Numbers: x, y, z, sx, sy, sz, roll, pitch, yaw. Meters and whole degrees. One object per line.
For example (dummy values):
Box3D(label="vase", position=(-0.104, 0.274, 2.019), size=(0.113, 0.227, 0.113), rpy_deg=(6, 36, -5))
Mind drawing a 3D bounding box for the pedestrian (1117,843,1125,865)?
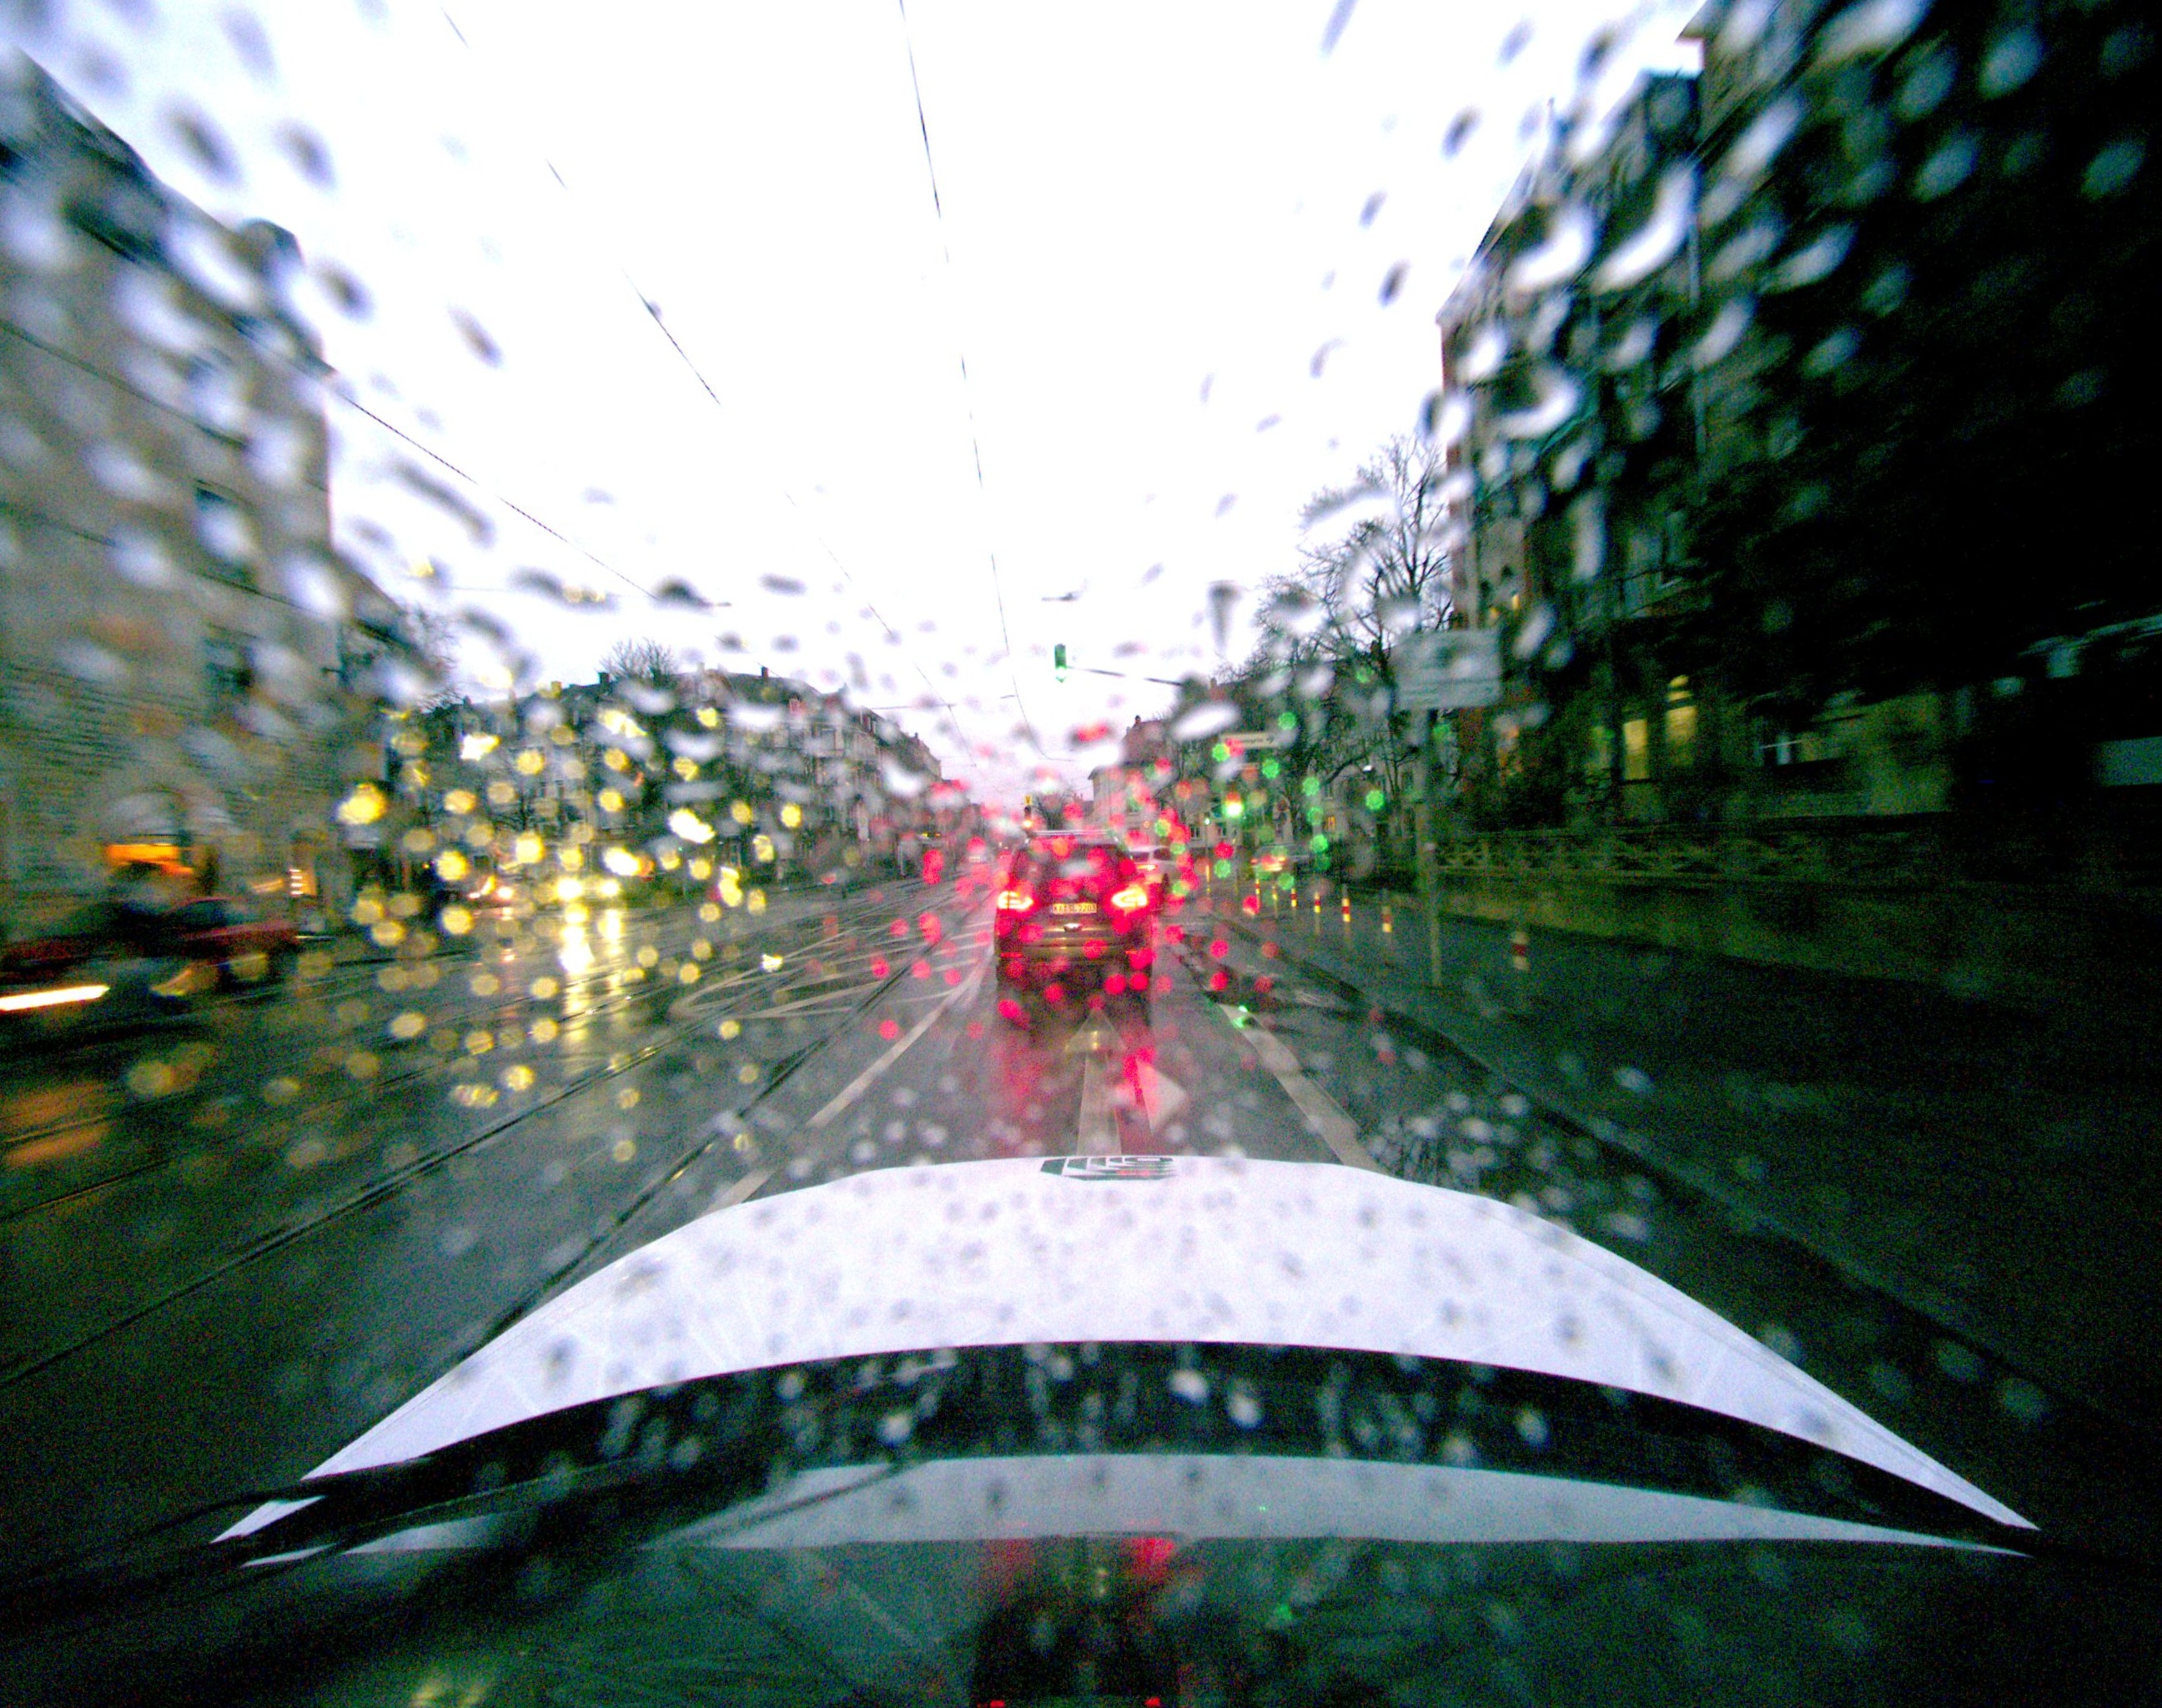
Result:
Box3D(label="pedestrian", position=(3.558, 0.000, 72.452), size=(0.593, 2.014, 0.631), rpy_deg=(-2, -1, 1))

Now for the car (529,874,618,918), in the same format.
Box3D(label="car", position=(-21.968, 1.781, 35.202), size=(3.948, 1.673, 2.035), rpy_deg=(-2, 0, 39))

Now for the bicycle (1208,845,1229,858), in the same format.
Box3D(label="bicycle", position=(13.699, -0.225, 81.069), size=(1.832, 1.183, 0.718), rpy_deg=(-2, 0, 29))

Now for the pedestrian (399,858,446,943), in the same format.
Box3D(label="pedestrian", position=(-16.003, 1.115, 19.791), size=(0.748, 2.014, 0.652), rpy_deg=(-2, -1, 33))

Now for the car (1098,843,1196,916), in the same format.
Box3D(label="car", position=(2.113, 0.702, 24.836), size=(1.694, 2.013, 4.322), rpy_deg=(-2, 0, 22))

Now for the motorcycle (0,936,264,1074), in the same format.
Box3D(label="motorcycle", position=(-9.523, 1.446, 8.230), size=(0.856, 0.991, 1.910), rpy_deg=(-3, 0, -13))

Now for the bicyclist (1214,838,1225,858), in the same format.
Box3D(label="bicyclist", position=(13.760, -0.592, 81.024), size=(0.799, 1.919, 0.712), rpy_deg=(-2, 0, 29))

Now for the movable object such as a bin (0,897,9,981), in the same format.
Box3D(label="movable object such as a bin", position=(-18.286, 1.422, 12.737), size=(1.291, 1.367, 1.251), rpy_deg=(-2, 0, -3))

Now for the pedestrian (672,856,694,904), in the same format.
Box3D(label="pedestrian", position=(-17.008, 1.097, 34.808), size=(0.707, 2.013, 0.655), rpy_deg=(-3, 0, -22))

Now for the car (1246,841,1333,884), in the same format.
Box3D(label="car", position=(8.905, 0.342, 34.545), size=(4.023, 1.662, 1.693), rpy_deg=(-2, -1, -44))

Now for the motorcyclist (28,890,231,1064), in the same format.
Box3D(label="motorcyclist", position=(-9.537, 1.181, 8.225), size=(0.845, 1.548, 1.010), rpy_deg=(-2, 0, -13))

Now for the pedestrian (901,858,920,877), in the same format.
Box3D(label="pedestrian", position=(-11.041, 0.891, 52.679), size=(1.045, 1.200, 0.884), rpy_deg=(-2, -1, -2))

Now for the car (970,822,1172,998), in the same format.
Box3D(label="car", position=(-0.121, 0.579, 10.906), size=(2.097, 1.816, 4.659), rpy_deg=(-1, 0, -1))

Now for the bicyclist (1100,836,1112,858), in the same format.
Box3D(label="bicyclist", position=(1.926, -0.537, 62.570), size=(0.716, 1.662, 1.054), rpy_deg=(1, 0, -7))

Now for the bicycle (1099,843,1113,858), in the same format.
Box3D(label="bicycle", position=(1.910, -0.254, 62.650), size=(0.716, 1.112, 1.937), rpy_deg=(1, 0, -7))

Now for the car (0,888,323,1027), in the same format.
Box3D(label="car", position=(-14.255, 1.408, 12.358), size=(2.036, 1.551, 4.021), rpy_deg=(1, 0, -8))
